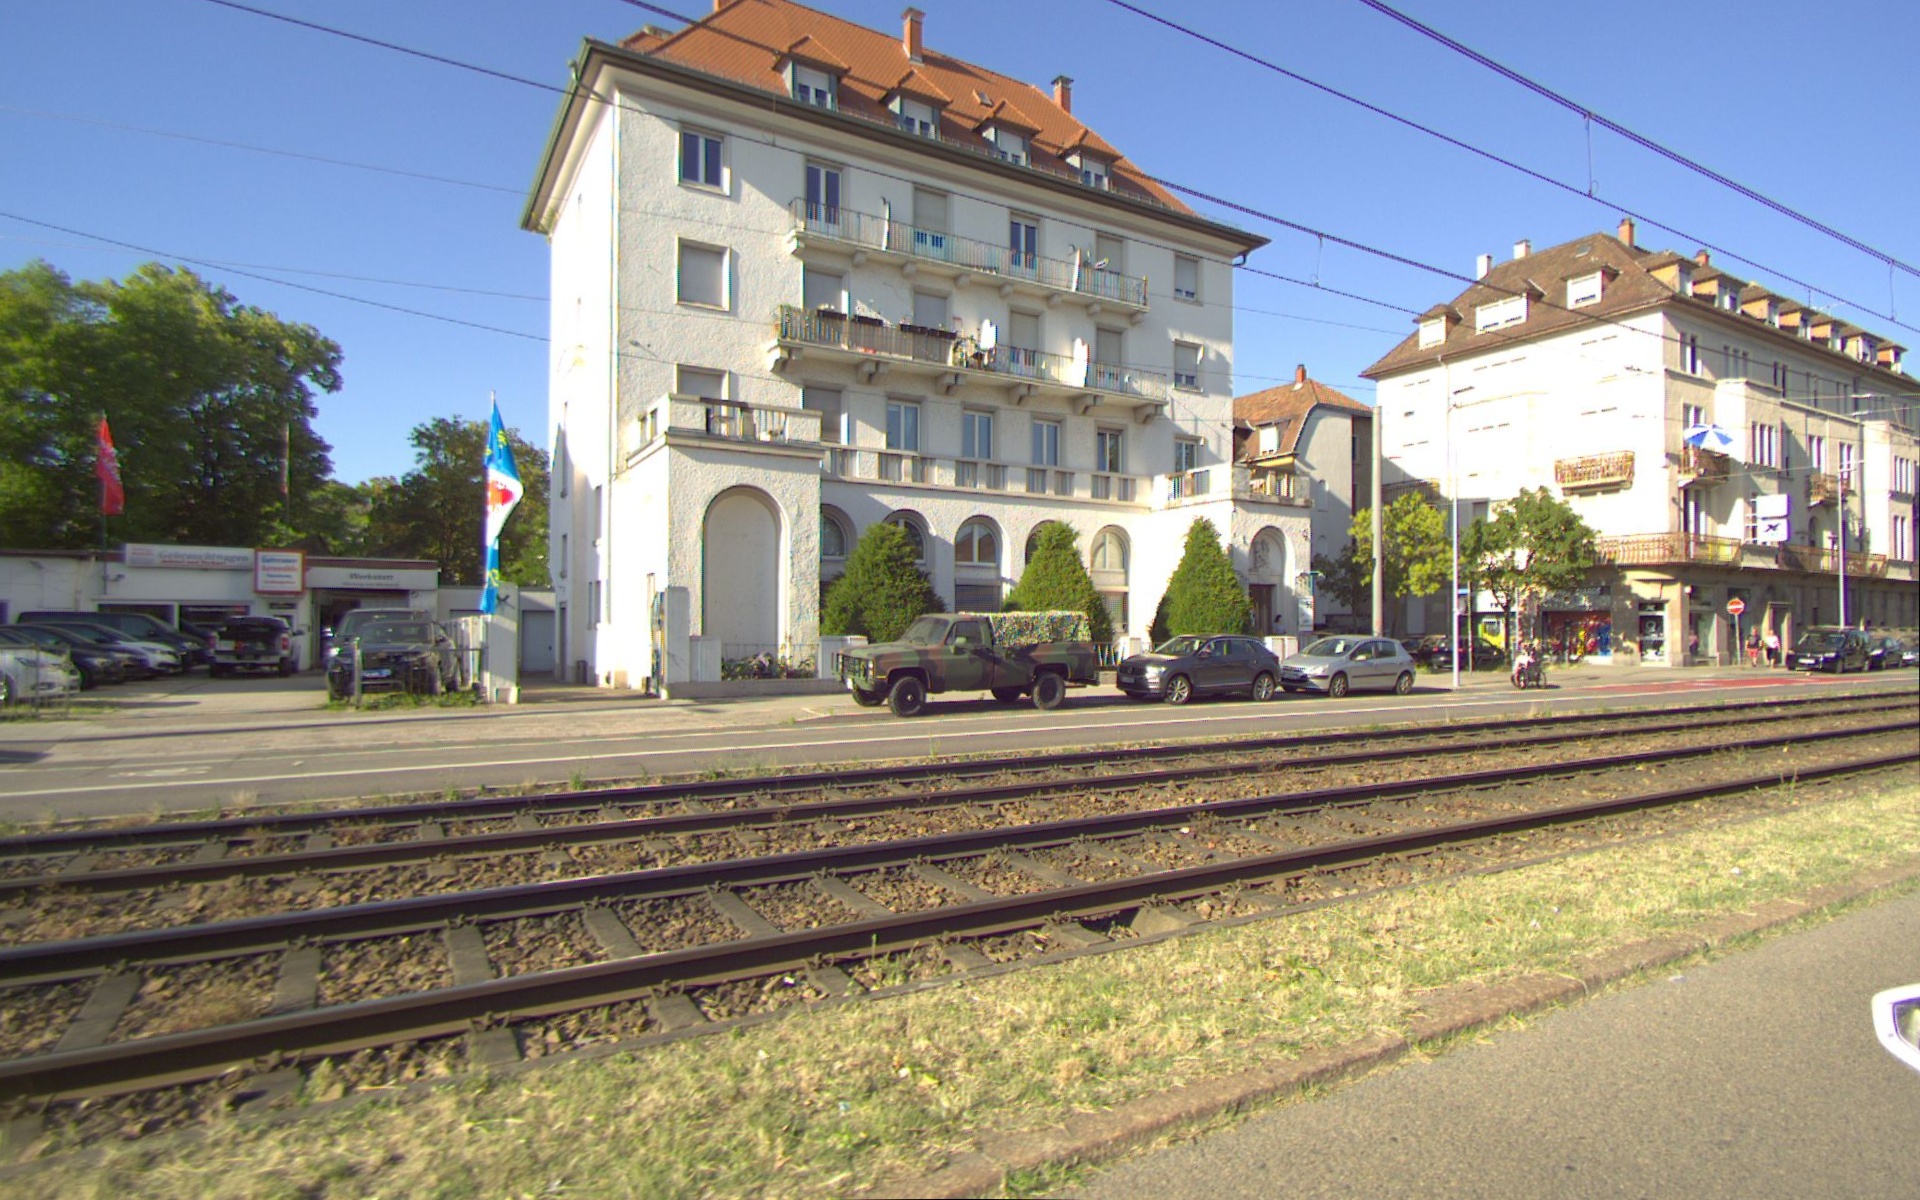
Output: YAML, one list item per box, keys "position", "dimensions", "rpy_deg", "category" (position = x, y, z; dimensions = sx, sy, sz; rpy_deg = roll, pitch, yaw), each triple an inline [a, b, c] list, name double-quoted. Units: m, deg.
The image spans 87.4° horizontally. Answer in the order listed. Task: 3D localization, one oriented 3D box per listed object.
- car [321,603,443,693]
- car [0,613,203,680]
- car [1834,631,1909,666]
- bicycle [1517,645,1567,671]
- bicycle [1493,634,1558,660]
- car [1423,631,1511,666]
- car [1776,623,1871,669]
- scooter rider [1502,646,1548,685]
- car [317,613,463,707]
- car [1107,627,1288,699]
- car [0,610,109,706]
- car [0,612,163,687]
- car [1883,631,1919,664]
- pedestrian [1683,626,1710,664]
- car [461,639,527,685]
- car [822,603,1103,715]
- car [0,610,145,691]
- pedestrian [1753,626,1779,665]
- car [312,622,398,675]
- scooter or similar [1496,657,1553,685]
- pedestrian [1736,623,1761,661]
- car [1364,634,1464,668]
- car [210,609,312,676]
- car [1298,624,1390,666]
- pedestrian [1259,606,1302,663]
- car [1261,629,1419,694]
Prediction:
- position: [-14.270, 1.148, 25.017]
  dimensions: [1.958, 2.029, 4.065]
  rpy_deg: [-1, -1, -20]
  category: "car"
- position: [-23.584, 1.273, 27.713]
  dimensions: [3.949, 1.708, 1.919]
  rpy_deg: [2, 0, -27]
  category: "car"
- position: [41.618, 2.185, 45.841]
  dimensions: [3.470, 1.410, 1.618]
  rpy_deg: [1, 2, -32]
  category: "car"
- position: [24.479, 2.424, 42.225]
  dimensions: [2.383, 1.029, 0.681]
  rpy_deg: [1, 0, -29]
  category: "bicycle"
- position: [26.963, 2.238, 47.974]
  dimensions: [0.742, 1.176, 2.875]
  rpy_deg: [1, -2, -23]
  category: "bicycle"
- position: [23.334, 2.237, 46.179]
  dimensions: [4.202, 1.483, 1.762]
  rpy_deg: [2, 0, -34]
  category: "car"
- position: [36.721, 1.925, 42.686]
  dimensions: [4.352, 1.810, 1.852]
  rpy_deg: [1, 0, -32]
  category: "car"
- position: [16.551, 1.901, 29.432]
  dimensions: [0.792, 1.103, 0.979]
  rpy_deg: [0, -2, 1]
  category: "scooter rider"
- position: [-11.548, 1.163, 20.637]
  dimensions: [1.922, 1.655, 4.123]
  rpy_deg: [-1, -1, -20]
  category: "car"
- position: [5.606, 1.463, 23.626]
  dimensions: [4.108, 1.527, 1.628]
  rpy_deg: [2, 0, -29]
  category: "car"
- position: [-18.381, 0.985, 17.880]
  dimensions: [4.504, 1.677, 1.897]
  rpy_deg: [3, -3, -27]
  category: "car"
- position: [-22.369, 1.195, 24.701]
  dimensions: [3.949, 1.708, 1.919]
  rpy_deg: [2, 0, -27]
  category: "car"
- position: [46.575, 2.288, 48.671]
  dimensions: [4.112, 1.488, 1.626]
  rpy_deg: [1, 1, -32]
  category: "car"
- position: [33.871, 2.059, 46.209]
  dimensions: [0.943, 1.683, 0.637]
  rpy_deg: [2, 0, -29]
  category: "pedestrian"
- position: [-16.867, 2.197, 36.268]
  dimensions: [1.779, 1.530, 3.968]
  rpy_deg: [1, -2, -31]
  category: "car"
- position: [0.117, 1.150, 20.819]
  dimensions: [5.523, 2.037, 2.068]
  rpy_deg: [1, 0, -29]
  category: "car"
- position: [-21.054, 1.106, 22.512]
  dimensions: [3.949, 1.708, 1.919]
  rpy_deg: [2, 0, -27]
  category: "car"
- position: [36.284, 2.052, 45.219]
  dimensions: [0.847, 1.719, 0.586]
  rpy_deg: [2, 0, -29]
  category: "pedestrian"
- position: [-19.899, 1.558, 33.194]
  dimensions: [1.710, 1.524, 3.980]
  rpy_deg: [2, 0, -21]
  category: "car"
- position: [16.549, 2.079, 29.468]
  dimensions: [0.792, 0.780, 1.570]
  rpy_deg: [0, -2, 1]
  category: "scooter or similar"
- position: [35.950, 1.905, 45.813]
  dimensions: [0.847, 1.719, 0.586]
  rpy_deg: [2, 0, -29]
  category: "pedestrian"
- position: [21.929, 2.490, 48.483]
  dimensions: [4.841, 1.530, 2.048]
  rpy_deg: [3, -3, -31]
  category: "car"
- position: [-21.546, 1.345, 31.134]
  dimensions: [1.912, 1.910, 3.975]
  rpy_deg: [2, -3, -26]
  category: "car"
- position: [19.923, 2.340, 52.050]
  dimensions: [4.844, 2.067, 2.047]
  rpy_deg: [3, -3, -33]
  category: "car"
- position: [10.561, 1.136, 33.115]
  dimensions: [0.927, 1.801, 0.984]
  rpy_deg: [2, 0, -38]
  category: "pedestrian"
- position: [10.028, 1.600, 26.465]
  dimensions: [3.952, 1.530, 1.786]
  rpy_deg: [2, 0, -30]
  category: "car"
